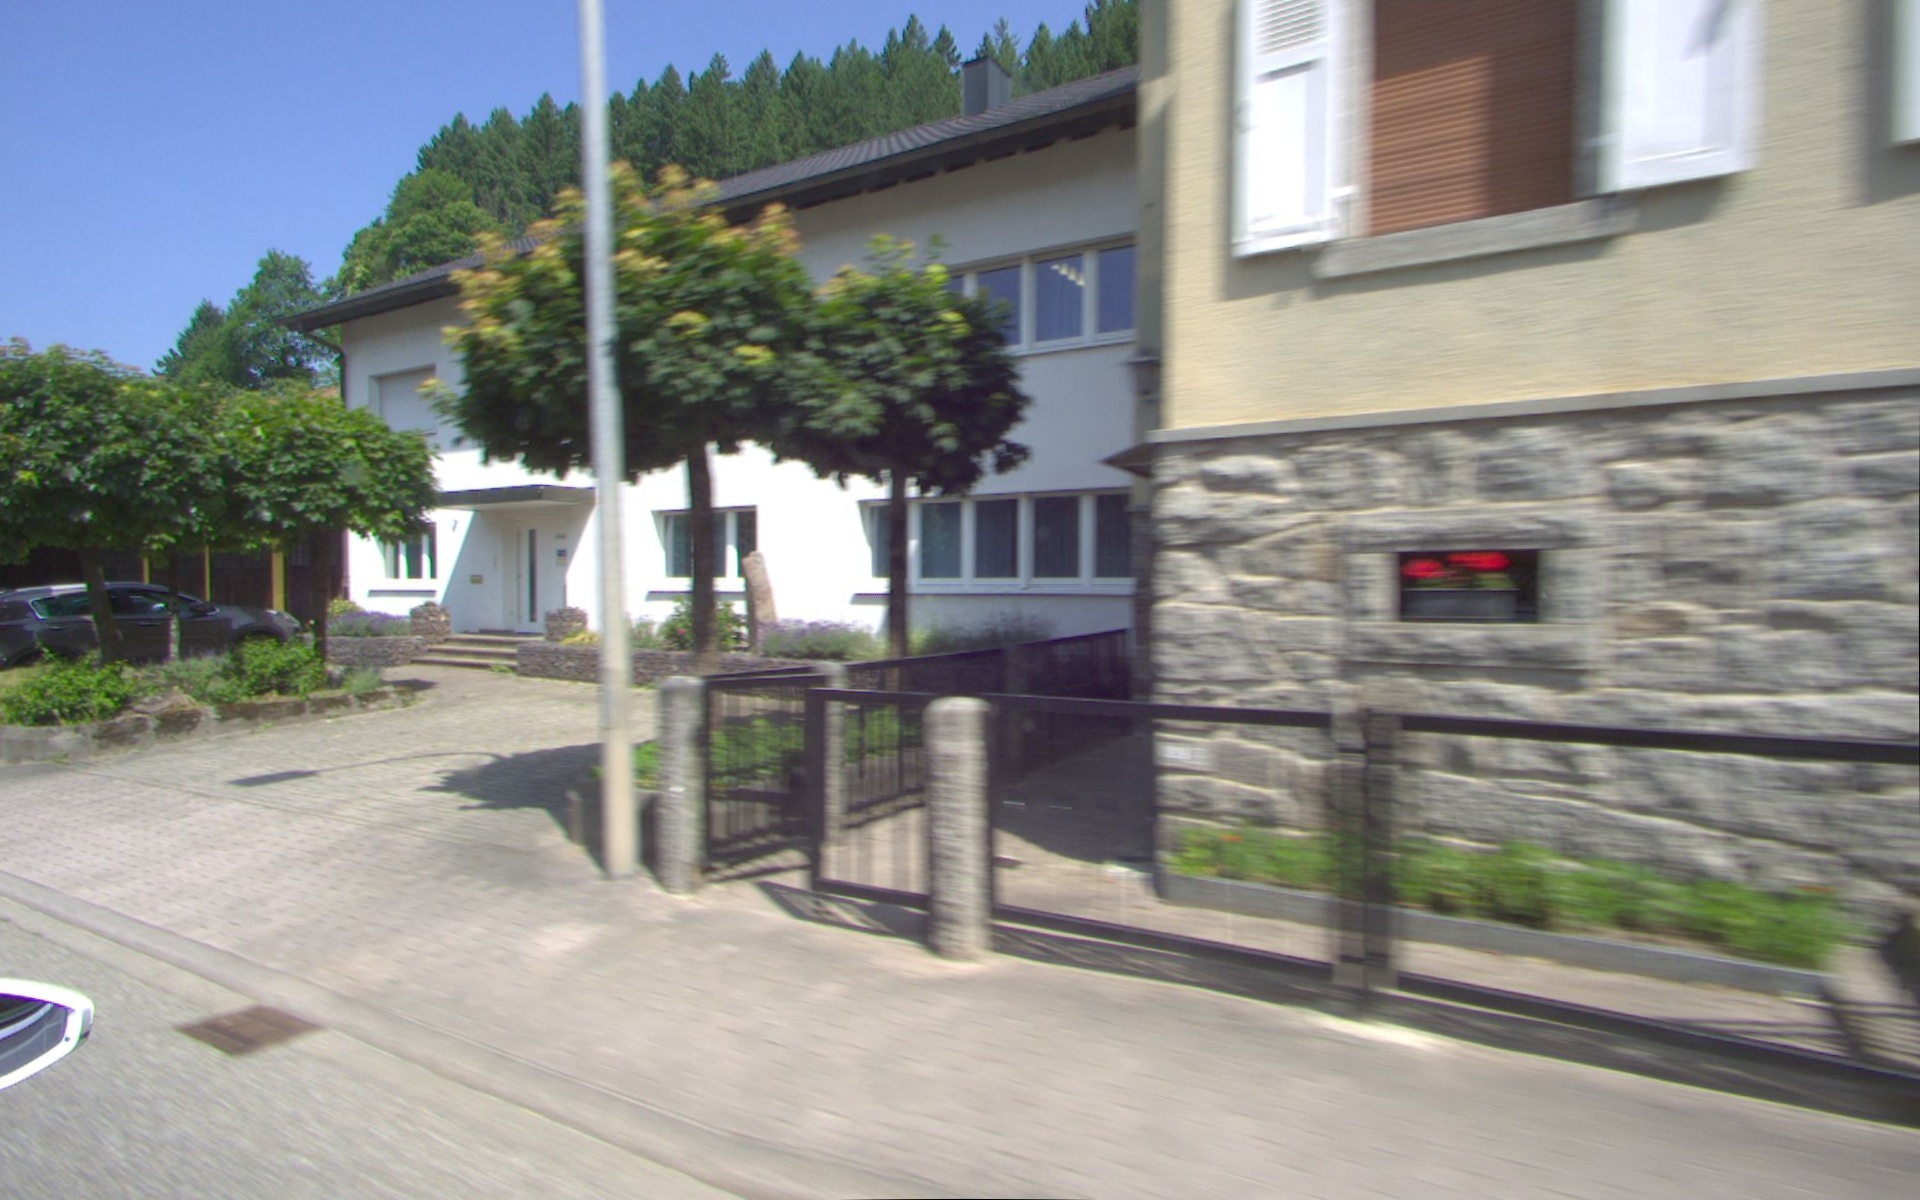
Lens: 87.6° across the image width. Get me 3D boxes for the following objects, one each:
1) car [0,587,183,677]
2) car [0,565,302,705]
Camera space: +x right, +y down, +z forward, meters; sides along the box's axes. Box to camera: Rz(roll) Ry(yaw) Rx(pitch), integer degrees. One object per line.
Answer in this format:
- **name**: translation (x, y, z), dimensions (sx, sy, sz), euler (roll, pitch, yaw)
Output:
- **car**: translation (-20.526, 0.672, 22.707), dimensions (1.924, 1.857, 4.121), euler (-1, 1, 28)
- **car**: translation (-13.034, 0.460, 15.588), dimensions (1.753, 1.711, 4.204), euler (-1, 5, 35)
